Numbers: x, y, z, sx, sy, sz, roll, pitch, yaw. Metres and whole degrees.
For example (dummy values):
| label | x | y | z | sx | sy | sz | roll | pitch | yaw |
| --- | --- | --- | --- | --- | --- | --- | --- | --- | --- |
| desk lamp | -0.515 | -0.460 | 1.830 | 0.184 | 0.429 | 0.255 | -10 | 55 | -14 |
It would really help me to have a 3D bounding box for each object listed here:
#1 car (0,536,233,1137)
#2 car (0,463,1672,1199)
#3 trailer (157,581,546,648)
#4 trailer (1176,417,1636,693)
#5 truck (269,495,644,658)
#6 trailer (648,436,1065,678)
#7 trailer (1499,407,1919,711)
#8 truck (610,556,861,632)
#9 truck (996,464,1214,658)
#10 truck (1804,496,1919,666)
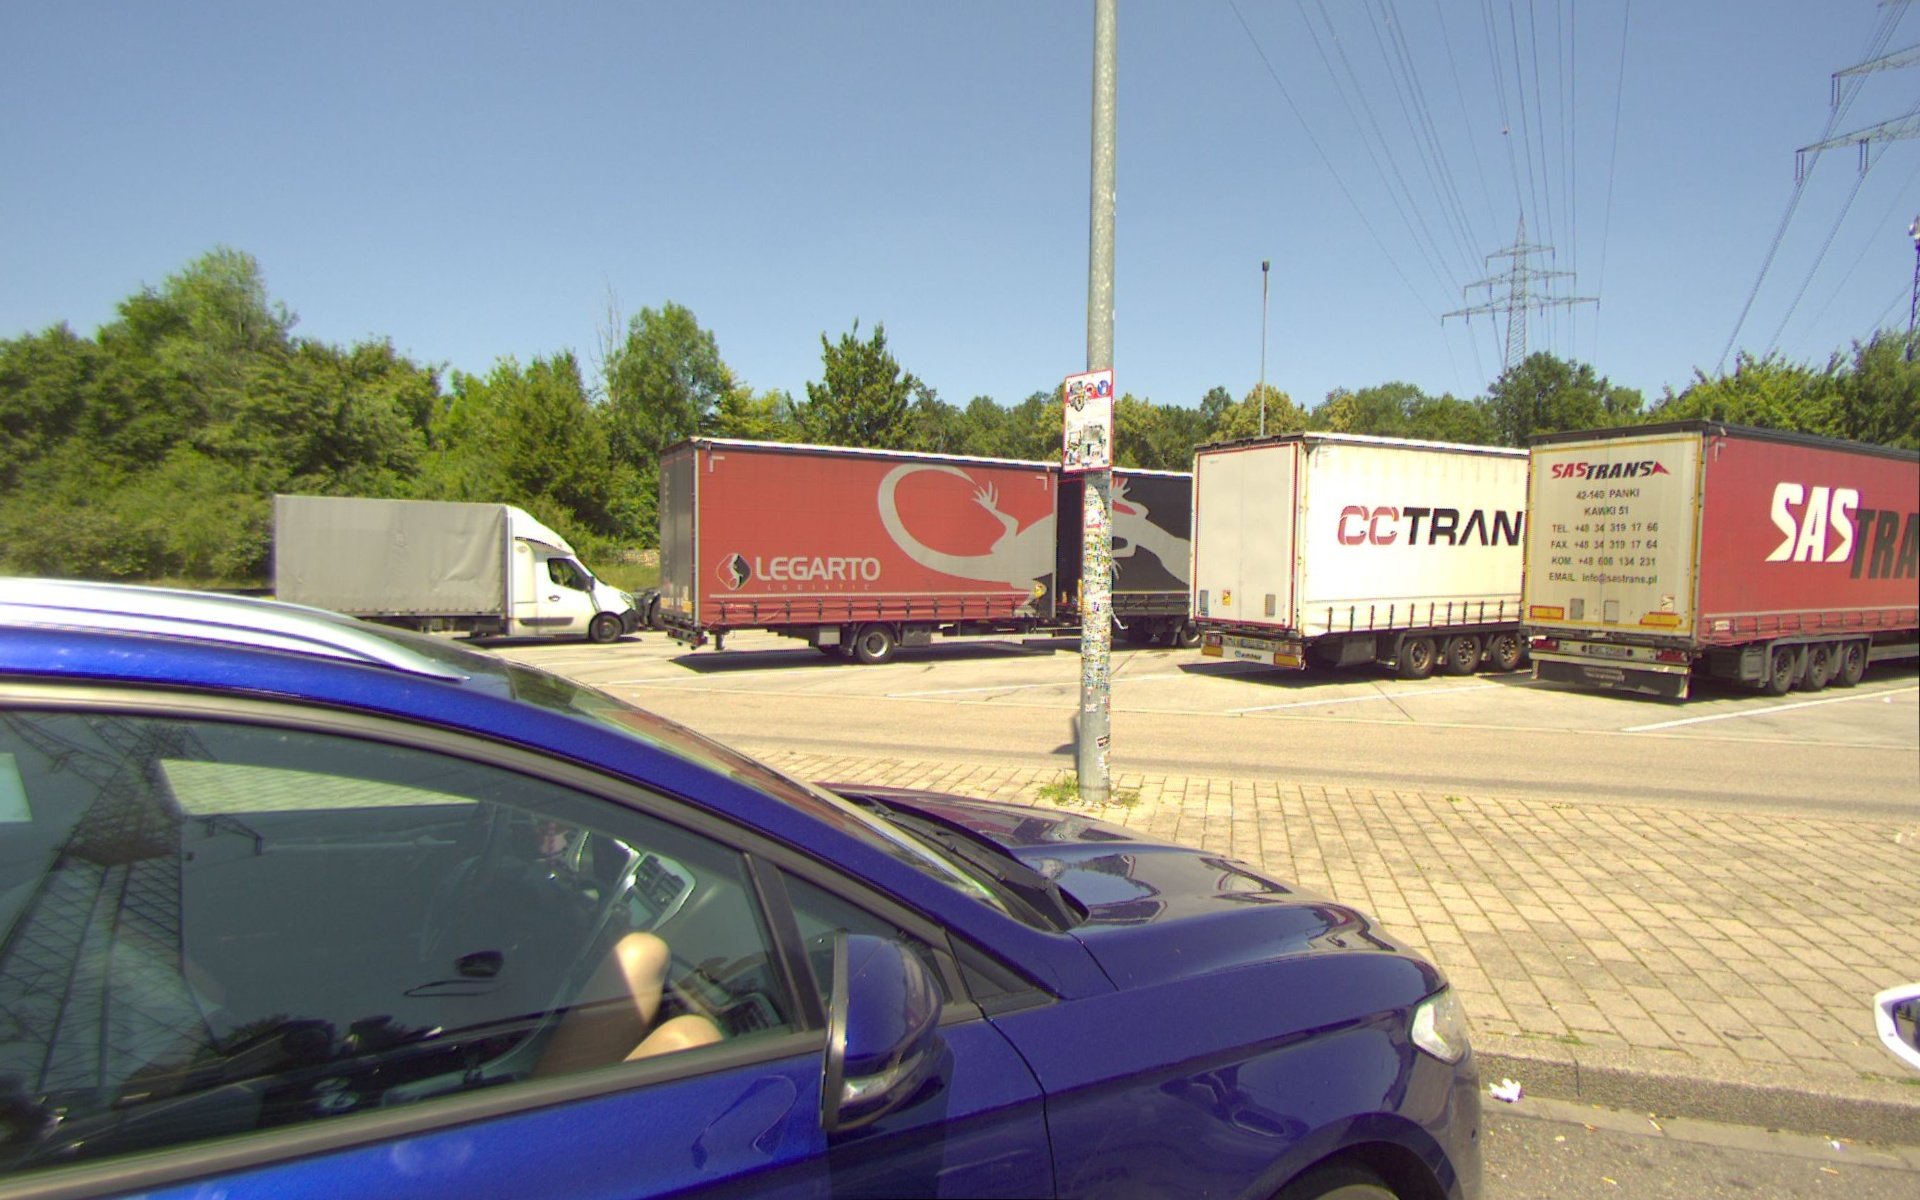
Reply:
| label | x | y | z | sx | sy | sz | roll | pitch | yaw |
| --- | --- | --- | --- | --- | --- | --- | --- | --- | --- |
| car | -4.544 | 0.585 | 2.261 | 4.592 | 1.554 | 1.726 | 0 | 1 | -33 |
| car | -0.971 | 0.656 | 1.477 | 4.592 | 1.502 | 1.727 | 0 | 0 | -33 |
| trailer | -14.824 | 0.269 | 25.192 | 7.996 | 1.394 | 2.211 | -1 | 3 | -30 |
| trailer | 8.873 | -0.818 | 19.336 | 10.049 | 4.267 | 2.714 | -1 | 3 | -30 |
| truck | -11.196 | -0.565 | 22.909 | 7.254 | 3.254 | 2.515 | -1 | 3 | -30 |
| trailer | -1.919 | -0.825 | 20.274 | 7.996 | 4.101 | 2.696 | -1 | 3 | -30 |
| trailer | 15.412 | -0.703 | 18.572 | 13.559 | 4.189 | 2.892 | -1 | 3 | -30 |
| truck | -6.476 | -0.155 | 29.533 | 6.961 | 2.040 | 1.984 | 0 | 0 | -30 |
| truck | 3.363 | -0.900 | 23.369 | 4.273 | 4.072 | 2.689 | -1 | 3 | -30 |
| truck | 21.734 | -0.433 | 22.317 | 5.418 | 3.475 | 2.838 | -1 | 3 | -30 |
